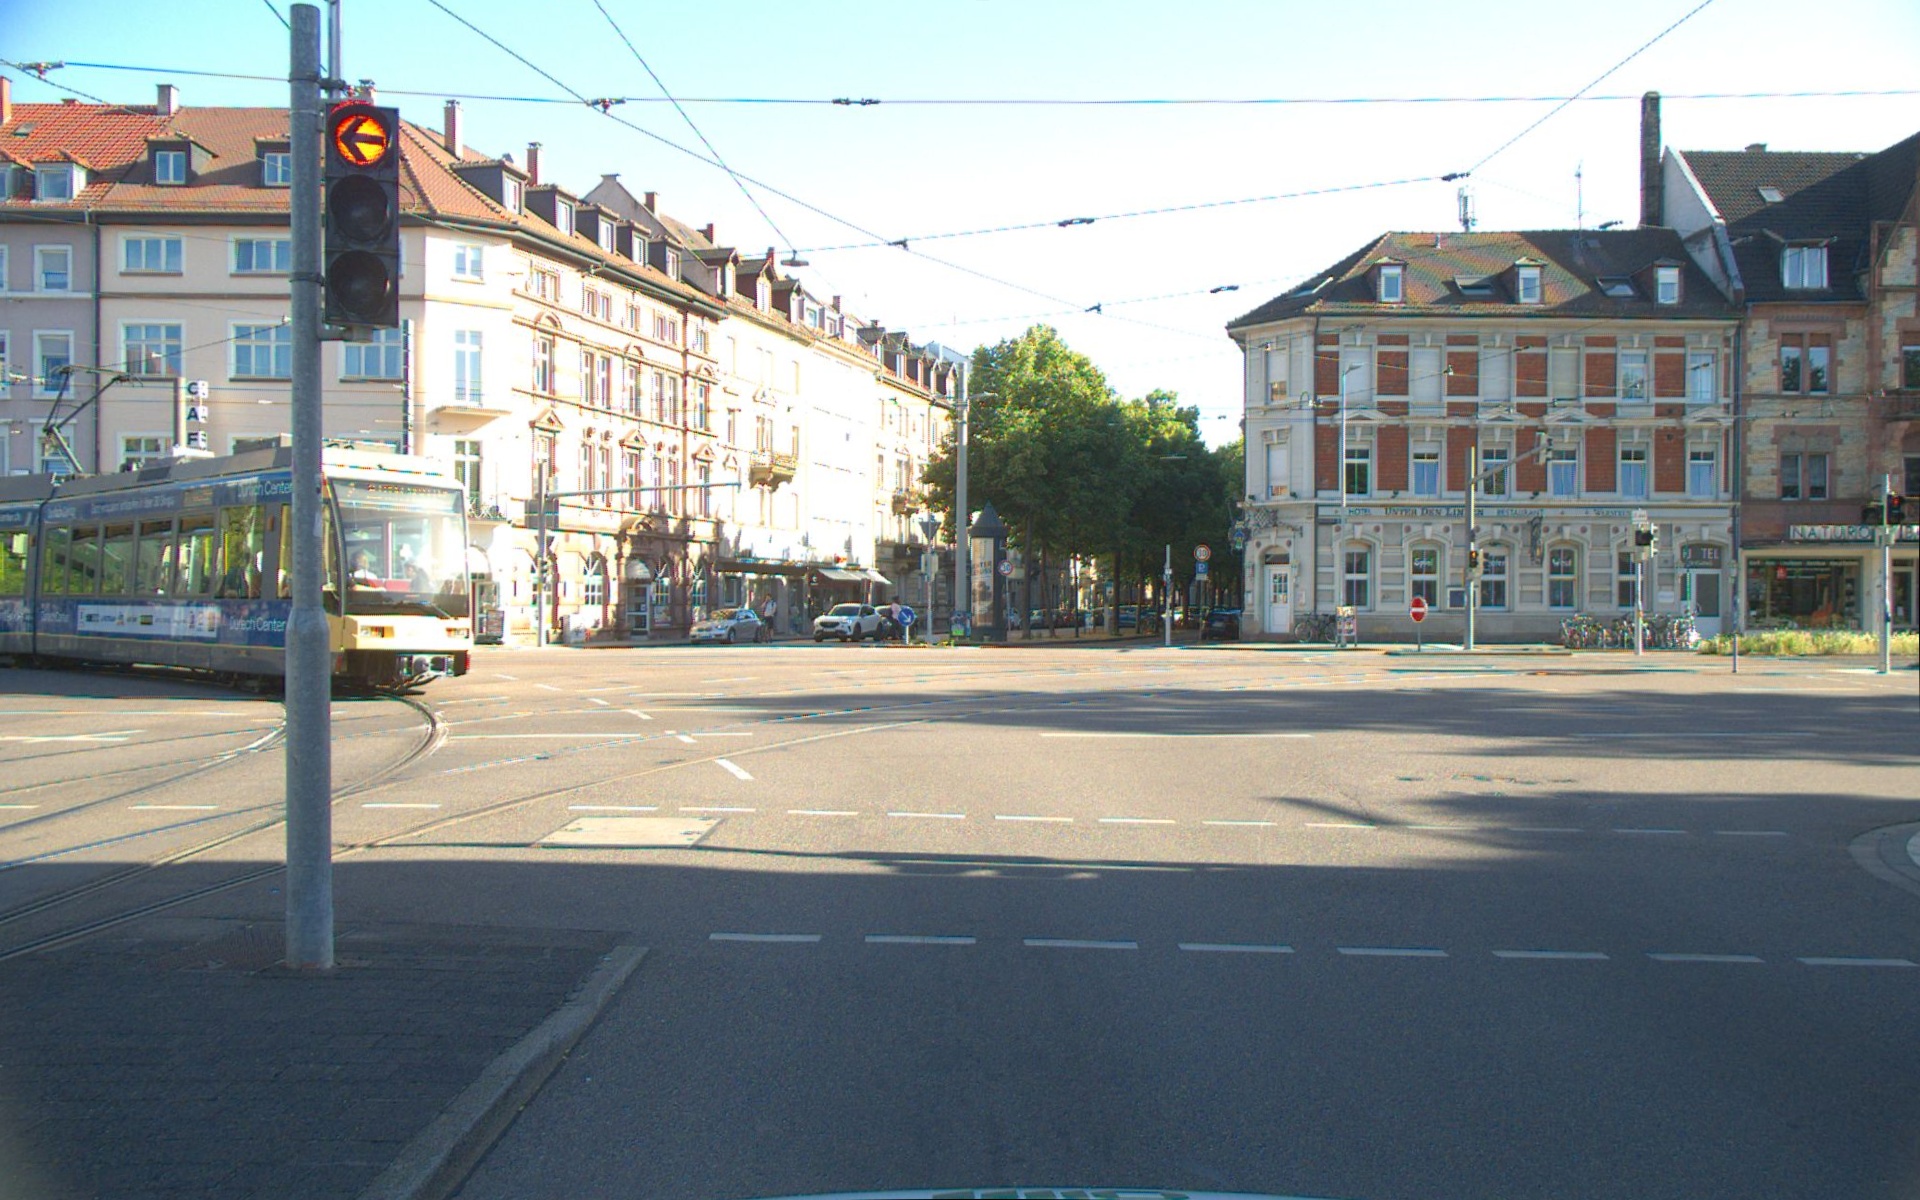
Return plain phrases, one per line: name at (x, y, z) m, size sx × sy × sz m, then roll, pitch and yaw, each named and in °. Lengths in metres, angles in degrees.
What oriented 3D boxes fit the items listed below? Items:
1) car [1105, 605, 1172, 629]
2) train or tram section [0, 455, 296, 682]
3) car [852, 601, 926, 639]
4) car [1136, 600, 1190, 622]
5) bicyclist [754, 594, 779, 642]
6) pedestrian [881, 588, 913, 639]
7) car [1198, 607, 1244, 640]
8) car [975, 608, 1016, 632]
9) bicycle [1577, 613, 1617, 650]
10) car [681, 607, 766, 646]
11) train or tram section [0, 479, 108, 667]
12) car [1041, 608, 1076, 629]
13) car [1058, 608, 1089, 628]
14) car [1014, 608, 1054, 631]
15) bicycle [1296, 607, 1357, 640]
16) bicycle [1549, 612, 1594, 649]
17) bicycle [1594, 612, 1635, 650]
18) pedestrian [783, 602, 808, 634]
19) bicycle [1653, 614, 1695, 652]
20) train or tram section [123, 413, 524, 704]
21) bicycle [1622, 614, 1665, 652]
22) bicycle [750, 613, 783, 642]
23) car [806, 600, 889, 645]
car at (12.482, 1.195, 115.636) m, size 4.290 × 1.640 × 1.998 m, roll 0°, pitch 0°, yaw 26°
train or tram section at (-15.188, -0.522, 29.835) m, size 8.316 × 3.561 × 2.805 m, roll 0°, pitch 0°, yaw 44°
car at (-3.146, 0.862, 73.788) m, size 1.951 × 1.640 × 4.393 m, roll 0°, pitch 0°, yaw 17°
car at (16.419, 0.882, 133.873) m, size 3.912 × 1.736 × 1.996 m, roll 0°, pitch 0°, yaw 30°
bicyclist at (-7.583, 0.694, 64.931) m, size 0.664 × 1.852 × 1.071 m, roll 0°, pitch 0°, yaw 12°
pedestrian at (-2.222, 0.469, 58.139) m, size 1.026 × 1.774 × 0.807 m, roll 0°, pitch 0°, yaw -9°
car at (13.072, 1.159, 82.634) m, size 1.951 × 1.613 × 4.003 m, roll 0°, pitch 0°, yaw 13°
car at (2.414, 1.324, 110.990) m, size 1.951 × 1.512 × 4.003 m, roll 0°, pitch 0°, yaw 13°
bicycle at (20.596, 0.998, 53.540) m, size 0.605 × 1.163 × 2.175 m, roll 0°, pitch 0°, yaw 4°
car at (-9.524, 1.036, 66.899) m, size 1.858 × 1.481 × 4.002 m, roll 0°, pitch 0°, yaw 17°
train or tram section at (-23.299, -0.532, 34.383) m, size 11.742 × 3.561 × 2.780 m, roll 0°, pitch 0°, yaw 20°
car at (7.781, 1.420, 130.562) m, size 1.798 × 1.579 × 4.393 m, roll 0°, pitch 0°, yaw 16°
car at (9.393, 1.459, 136.463) m, size 1.727 × 1.576 × 4.394 m, roll 0°, pitch 0°, yaw 16°
car at (5.528, 1.423, 122.738) m, size 1.951 × 1.640 × 4.393 m, roll 0°, pitch 0°, yaw 17°
bicycle at (12.753, 0.818, 57.583) m, size 2.045 × 1.144 × 0.366 m, roll 1°, pitch -1°, yaw -5°
bicycle at (19.824, 0.988, 53.658) m, size 0.789 × 1.163 × 2.175 m, roll 0°, pitch 0°, yaw 4°
bicycle at (21.167, 0.993, 53.510) m, size 0.605 × 1.163 × 2.175 m, roll 0°, pitch 0°, yaw 4°
pedestrian at (-8.264, 0.887, 83.046) m, size 0.908 × 1.562 × 1.138 m, roll 0°, pitch 0°, yaw 13°
bicycle at (23.039, 1.058, 53.398) m, size 0.596 × 1.156 × 2.136 m, roll 0°, pitch 0°, yaw 4°
train or tram section at (-9.523, -0.532, 24.149) m, size 2.801 × 3.561 × 7.836 m, roll 0°, pitch 0°, yaw -43°
bicycle at (22.075, 1.055, 53.450) m, size 0.605 × 1.163 × 2.175 m, roll 0°, pitch 0°, yaw 4°
bicycle at (-7.594, 1.081, 64.889) m, size 0.665 × 1.085 × 2.127 m, roll 0°, pitch 0°, yaw 12°
car at (-4.540, 0.884, 67.253) m, size 1.951 × 1.713 × 4.393 m, roll 0°, pitch 0°, yaw 17°
